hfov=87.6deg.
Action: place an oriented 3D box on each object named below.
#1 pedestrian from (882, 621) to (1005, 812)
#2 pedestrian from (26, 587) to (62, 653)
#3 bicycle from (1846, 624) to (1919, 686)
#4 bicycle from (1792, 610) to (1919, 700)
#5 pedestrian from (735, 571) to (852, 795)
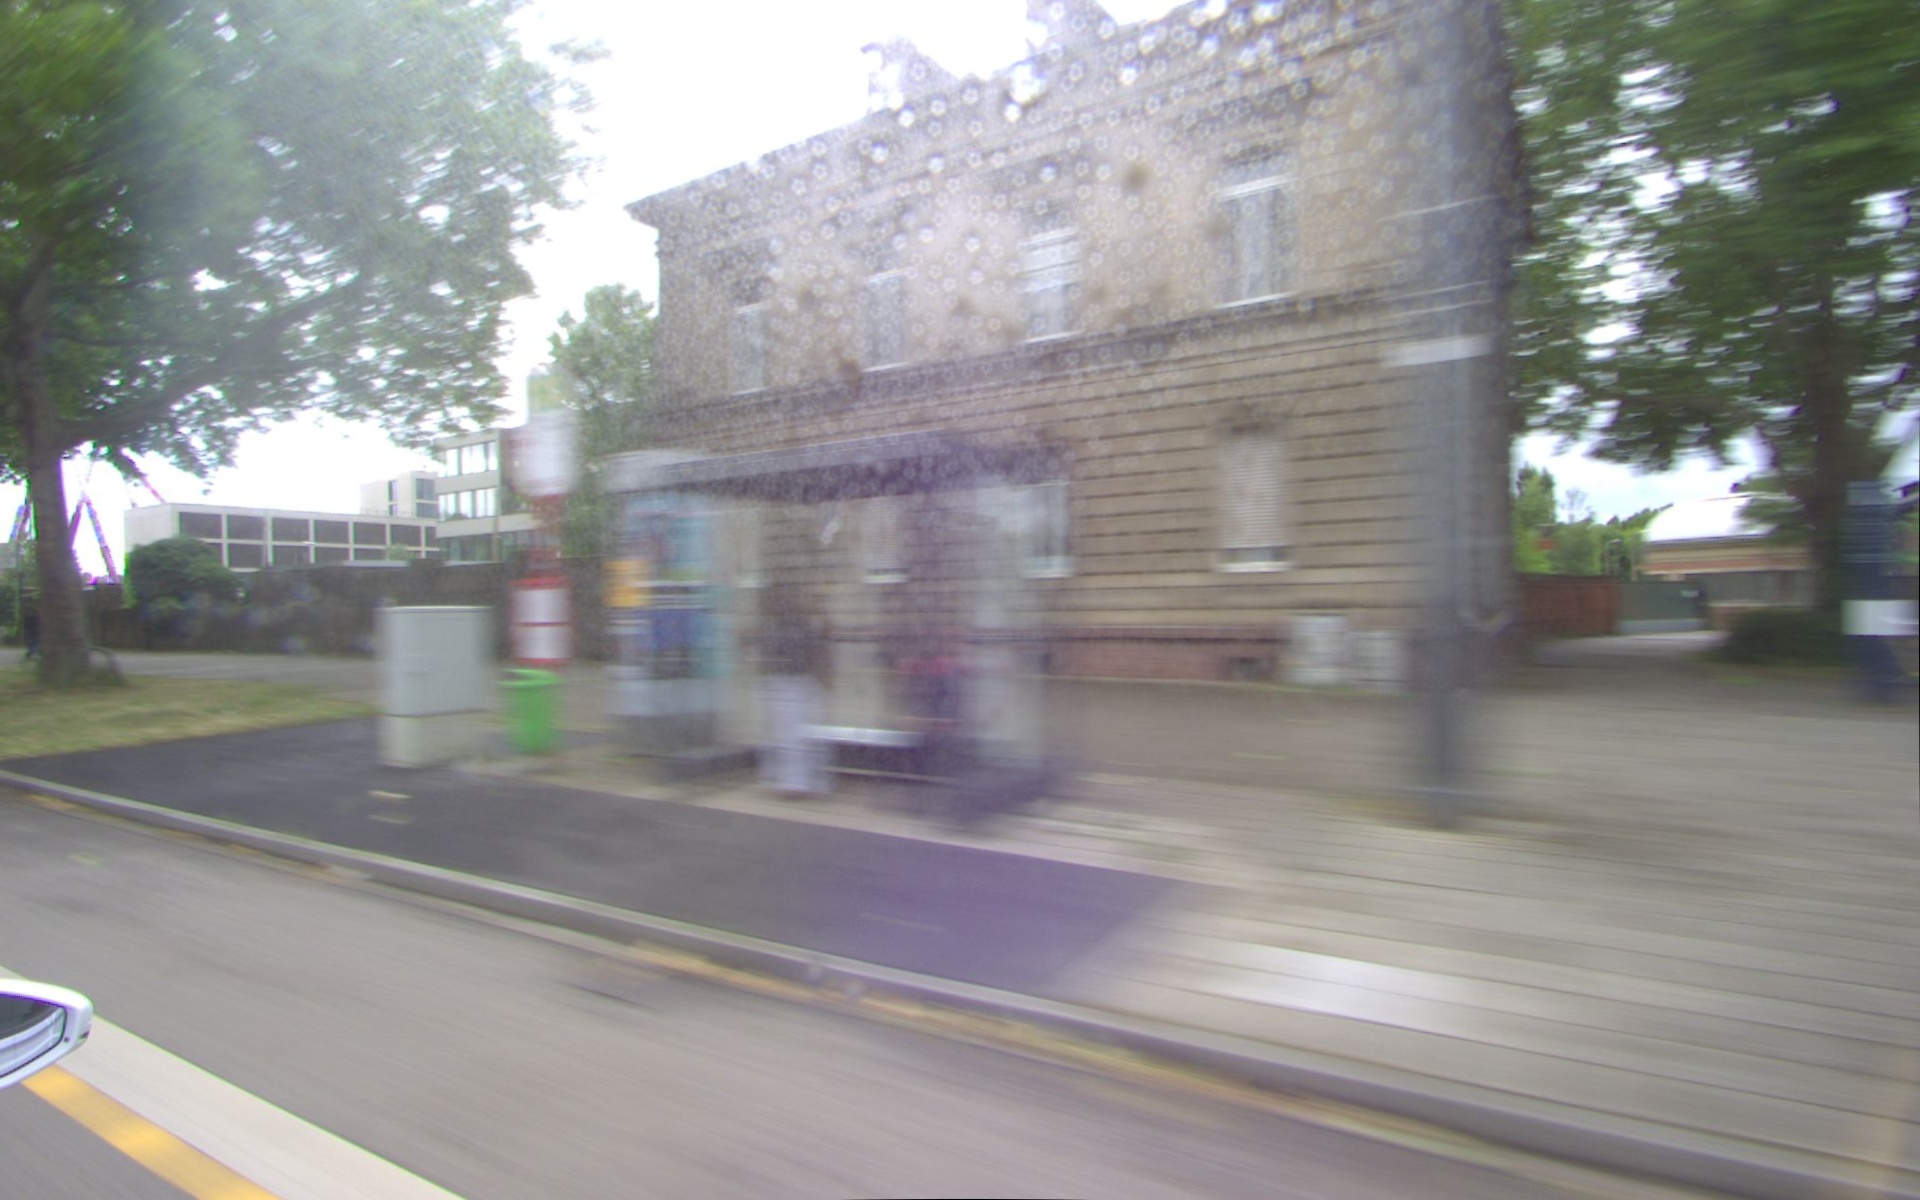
[{"bbox_3d":[-0.112,0.778,6.988,0.692,1.250,0.475,-1,1,33],"label":"pedestrian"},{"bbox_3d":[-28.784,0.631,31.471,0.911,2.040,0.582,-1,1,32],"label":"pedestrian"},{"bbox_3d":[14.445,0.808,14.711,2.051,0.883,0.608,-1,0,32],"label":"bicycle"},{"bbox_3d":[12.708,0.723,12.557,3.355,1.083,0.898,2,2,31],"label":"bicycle"},{"bbox_3d":[-1.241,0.594,7.469,0.692,1.584,0.475,-1,1,33],"label":"pedestrian"}]
